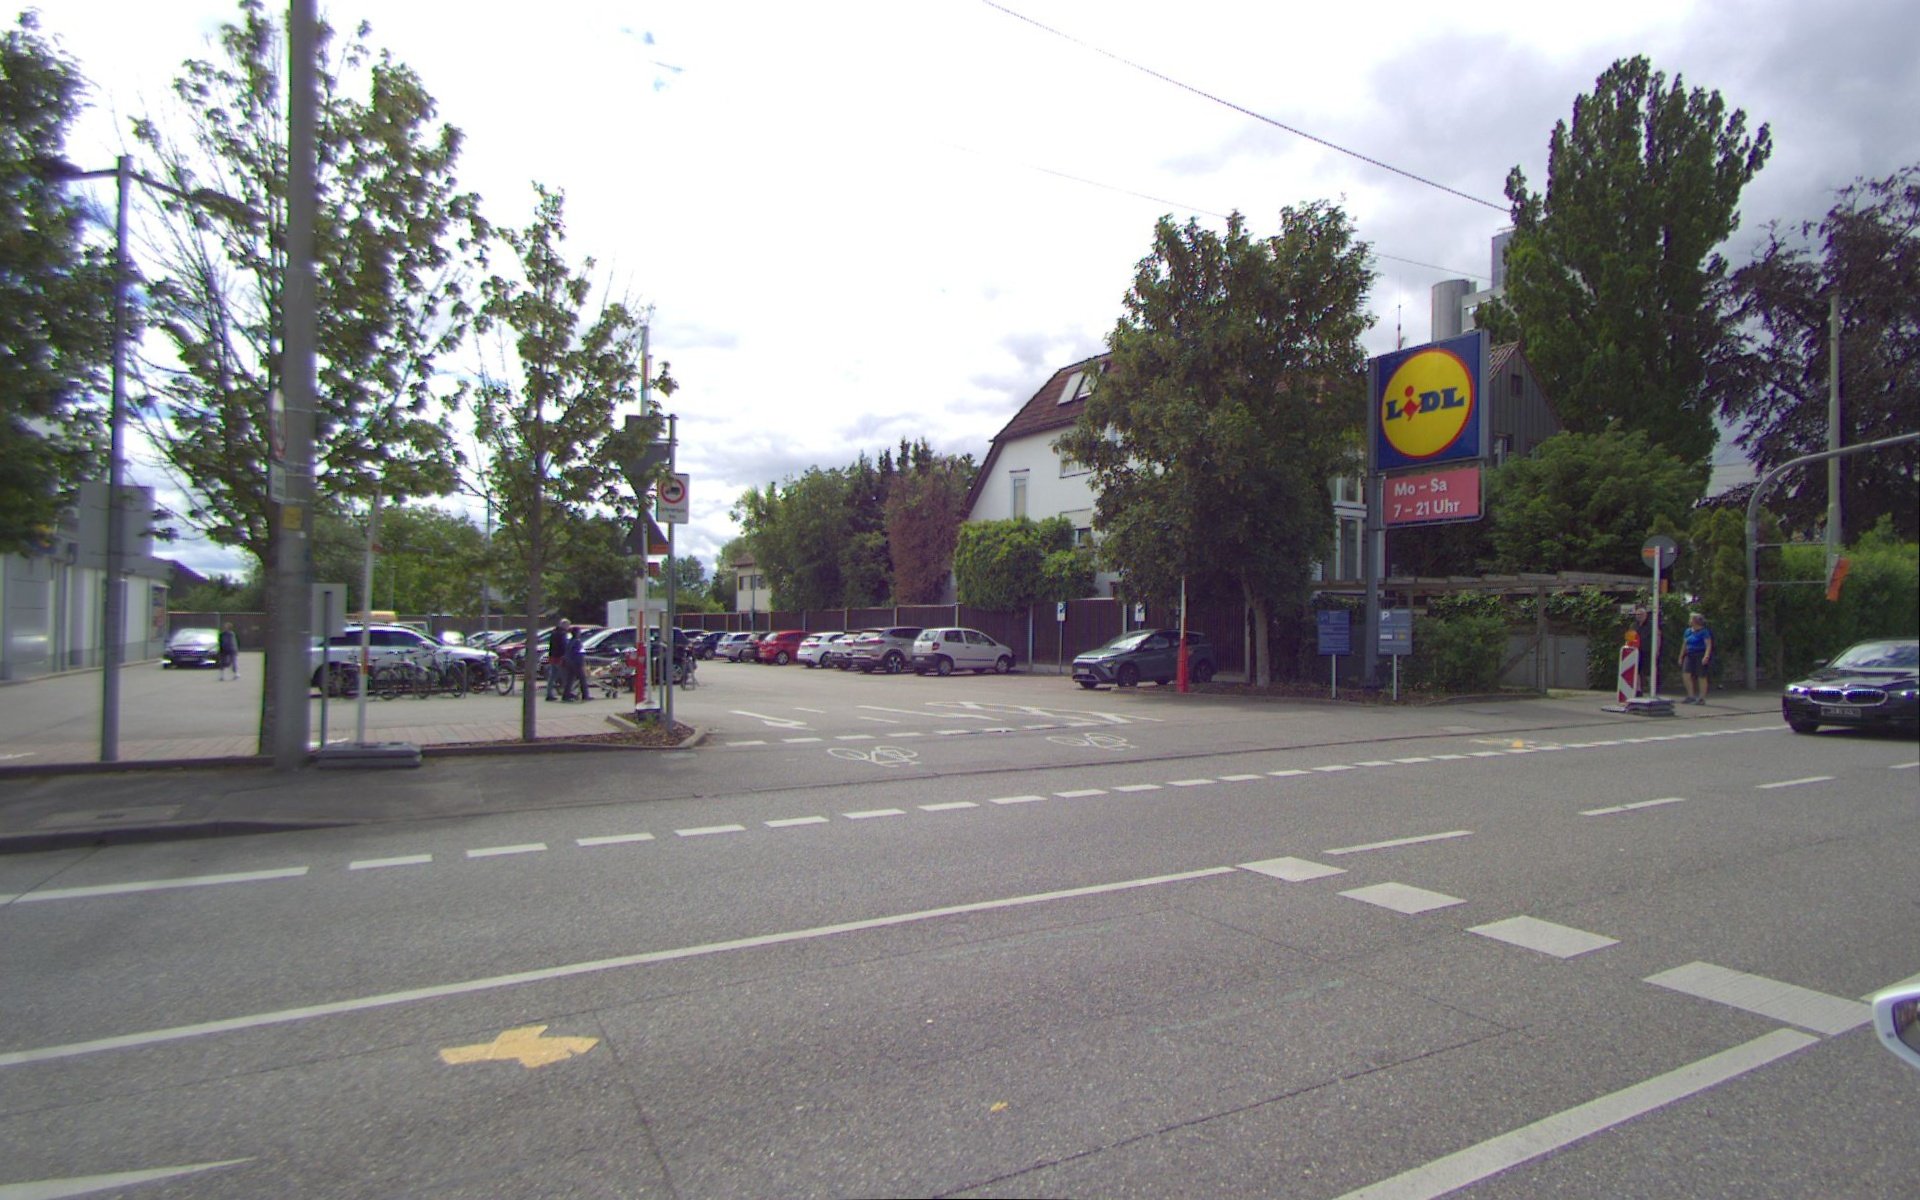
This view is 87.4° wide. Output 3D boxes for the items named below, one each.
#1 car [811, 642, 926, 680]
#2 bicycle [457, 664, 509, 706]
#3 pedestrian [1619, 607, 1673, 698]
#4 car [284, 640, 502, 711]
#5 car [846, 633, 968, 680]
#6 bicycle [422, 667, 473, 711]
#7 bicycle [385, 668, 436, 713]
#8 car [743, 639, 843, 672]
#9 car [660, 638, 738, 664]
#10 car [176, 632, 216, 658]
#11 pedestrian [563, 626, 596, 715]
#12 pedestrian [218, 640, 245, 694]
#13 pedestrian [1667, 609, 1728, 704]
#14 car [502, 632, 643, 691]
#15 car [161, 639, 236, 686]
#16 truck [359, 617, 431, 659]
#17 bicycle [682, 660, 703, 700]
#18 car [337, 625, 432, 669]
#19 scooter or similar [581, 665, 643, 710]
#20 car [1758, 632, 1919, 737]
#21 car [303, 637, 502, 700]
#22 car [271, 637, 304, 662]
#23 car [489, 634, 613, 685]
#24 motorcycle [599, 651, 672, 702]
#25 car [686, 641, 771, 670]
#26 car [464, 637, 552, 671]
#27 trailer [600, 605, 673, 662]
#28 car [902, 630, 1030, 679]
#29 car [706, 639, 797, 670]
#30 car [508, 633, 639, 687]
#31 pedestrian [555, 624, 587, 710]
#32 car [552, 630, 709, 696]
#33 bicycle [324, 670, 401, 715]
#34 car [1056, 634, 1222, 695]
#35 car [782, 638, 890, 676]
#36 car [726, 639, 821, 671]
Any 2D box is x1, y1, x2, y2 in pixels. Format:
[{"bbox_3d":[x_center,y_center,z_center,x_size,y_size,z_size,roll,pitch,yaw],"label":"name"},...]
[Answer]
[{"bbox_3d":[-3.478,2.290,38.385,3.959,1.305,1.981,1,-2,-34],"label":"car"},{"bbox_3d":[-11.636,2.060,24.473,1.856,0.969,0.347,-2,-2,38],"label":"bicycle"},{"bbox_3d":[14.417,1.094,21.118,0.698,1.879,0.678,1,-2,-30],"label":"pedestrian"},{"bbox_3d":[-14.191,1.828,25.348,4.620,1.593,1.983,1,-2,-31],"label":"car"},{"bbox_3d":[-1.879,1.989,35.976,3.959,1.572,1.981,1,-2,-34],"label":"car"},{"bbox_3d":[-12.224,2.106,23.935,1.856,0.969,0.347,-2,-2,38],"label":"bicycle"},{"bbox_3d":[-12.821,2.093,23.402,1.856,0.969,0.347,-2,-2,38],"label":"bicycle"},{"bbox_3d":[-7.459,2.448,44.908,3.959,1.416,1.981,1,-2,-34],"label":"car"},{"bbox_3d":[-15.050,2.897,57.885,3.959,1.416,1.981,1,-2,-34],"label":"car"},{"bbox_3d":[-49.792,2.918,65.532,1.697,1.594,3.965,1,-2,-32],"label":"car"},{"bbox_3d":[-8.189,1.511,21.613,0.605,1.884,0.418,0,-2,-33],"label":"pedestrian"},{"bbox_3d":[-22.615,2.078,31.199,0.600,1.638,0.501,1,-2,-31],"label":"pedestrian"},{"bbox_3d":[14.897,1.130,20.294,0.882,1.879,0.678,1,-2,-30],"label":"pedestrian"},{"bbox_3d":[-12.310,1.911,31.932,3.953,1.718,1.984,0,-2,-30],"label":"car"},{"bbox_3d":[-29.735,2.382,39.325,1.978,1.706,3.965,1,-2,-32],"label":"car"},{"bbox_3d":[-39.126,2.635,69.586,4.265,2.807,1.983,1,-2,-31],"label":"truck"},{"bbox_3d":[-6.994,2.063,26.240,0.309,0.969,1.647,0,-2,-23],"label":"bicycle"},{"bbox_3d":[-33.028,2.669,57.722,4.646,2.426,1.983,1,-2,-31],"label":"car"},{"bbox_3d":[-7.926,1.972,22.857,1.216,0.956,0.650,0,-2,-33],"label":"scooter or similar"},{"bbox_3d":[14.636,1.220,15.529,4.754,1.418,1.985,1,-3,-30],"label":"car"},{"bbox_3d":[-15.206,1.810,27.588,4.620,1.593,1.983,1,-2,-31],"label":"car"},{"bbox_3d":[-45.632,3.325,68.179,1.697,1.594,3.965,1,-2,-32],"label":"car"},{"bbox_3d":[-14.836,2.114,36.492,3.953,1.718,1.984,0,-2,-30],"label":"car"},{"bbox_3d":[-8.206,1.915,25.463,0.844,1.208,1.957,-1,-2,14],"label":"motorcycle"},{"bbox_3d":[-12.297,2.917,53.364,3.959,1.416,1.981,1,-2,-34],"label":"car"},{"bbox_3d":[-23.132,2.745,51.473,3.953,1.605,1.984,0,-2,-30],"label":"car"},{"bbox_3d":[-21.185,2.220,65.514,3.318,3.532,6.128,0,-2,-31],"label":"trailer"},{"bbox_3d":[0.216,1.819,34.273,3.959,1.572,1.981,1,-2,-34],"label":"car"},{"bbox_3d":[-10.167,2.639,49.058,3.959,1.416,1.981,1,-2,-34],"label":"car"},{"bbox_3d":[-13.225,2.015,34.387,3.953,1.718,1.984,0,-2,-30],"label":"car"},{"bbox_3d":[-8.606,1.468,22.224,0.605,1.884,0.418,0,-2,-33],"label":"pedestrian"},{"bbox_3d":[-9.406,1.752,28.695,3.953,1.718,1.984,0,-2,-30],"label":"car"},{"bbox_3d":[-13.454,2.071,22.611,1.847,0.969,0.349,-1,-2,17],"label":"bicycle"},{"bbox_3d":[4.687,1.635,26.266,3.953,1.472,1.984,1,-2,-30],"label":"car"},{"bbox_3d":[-5.030,2.281,40.897,3.959,1.416,1.981,1,-2,-34],"label":"car"},{"bbox_3d":[-8.680,2.537,46.812,3.959,1.416,1.981,1,-2,-34],"label":"car"}]
